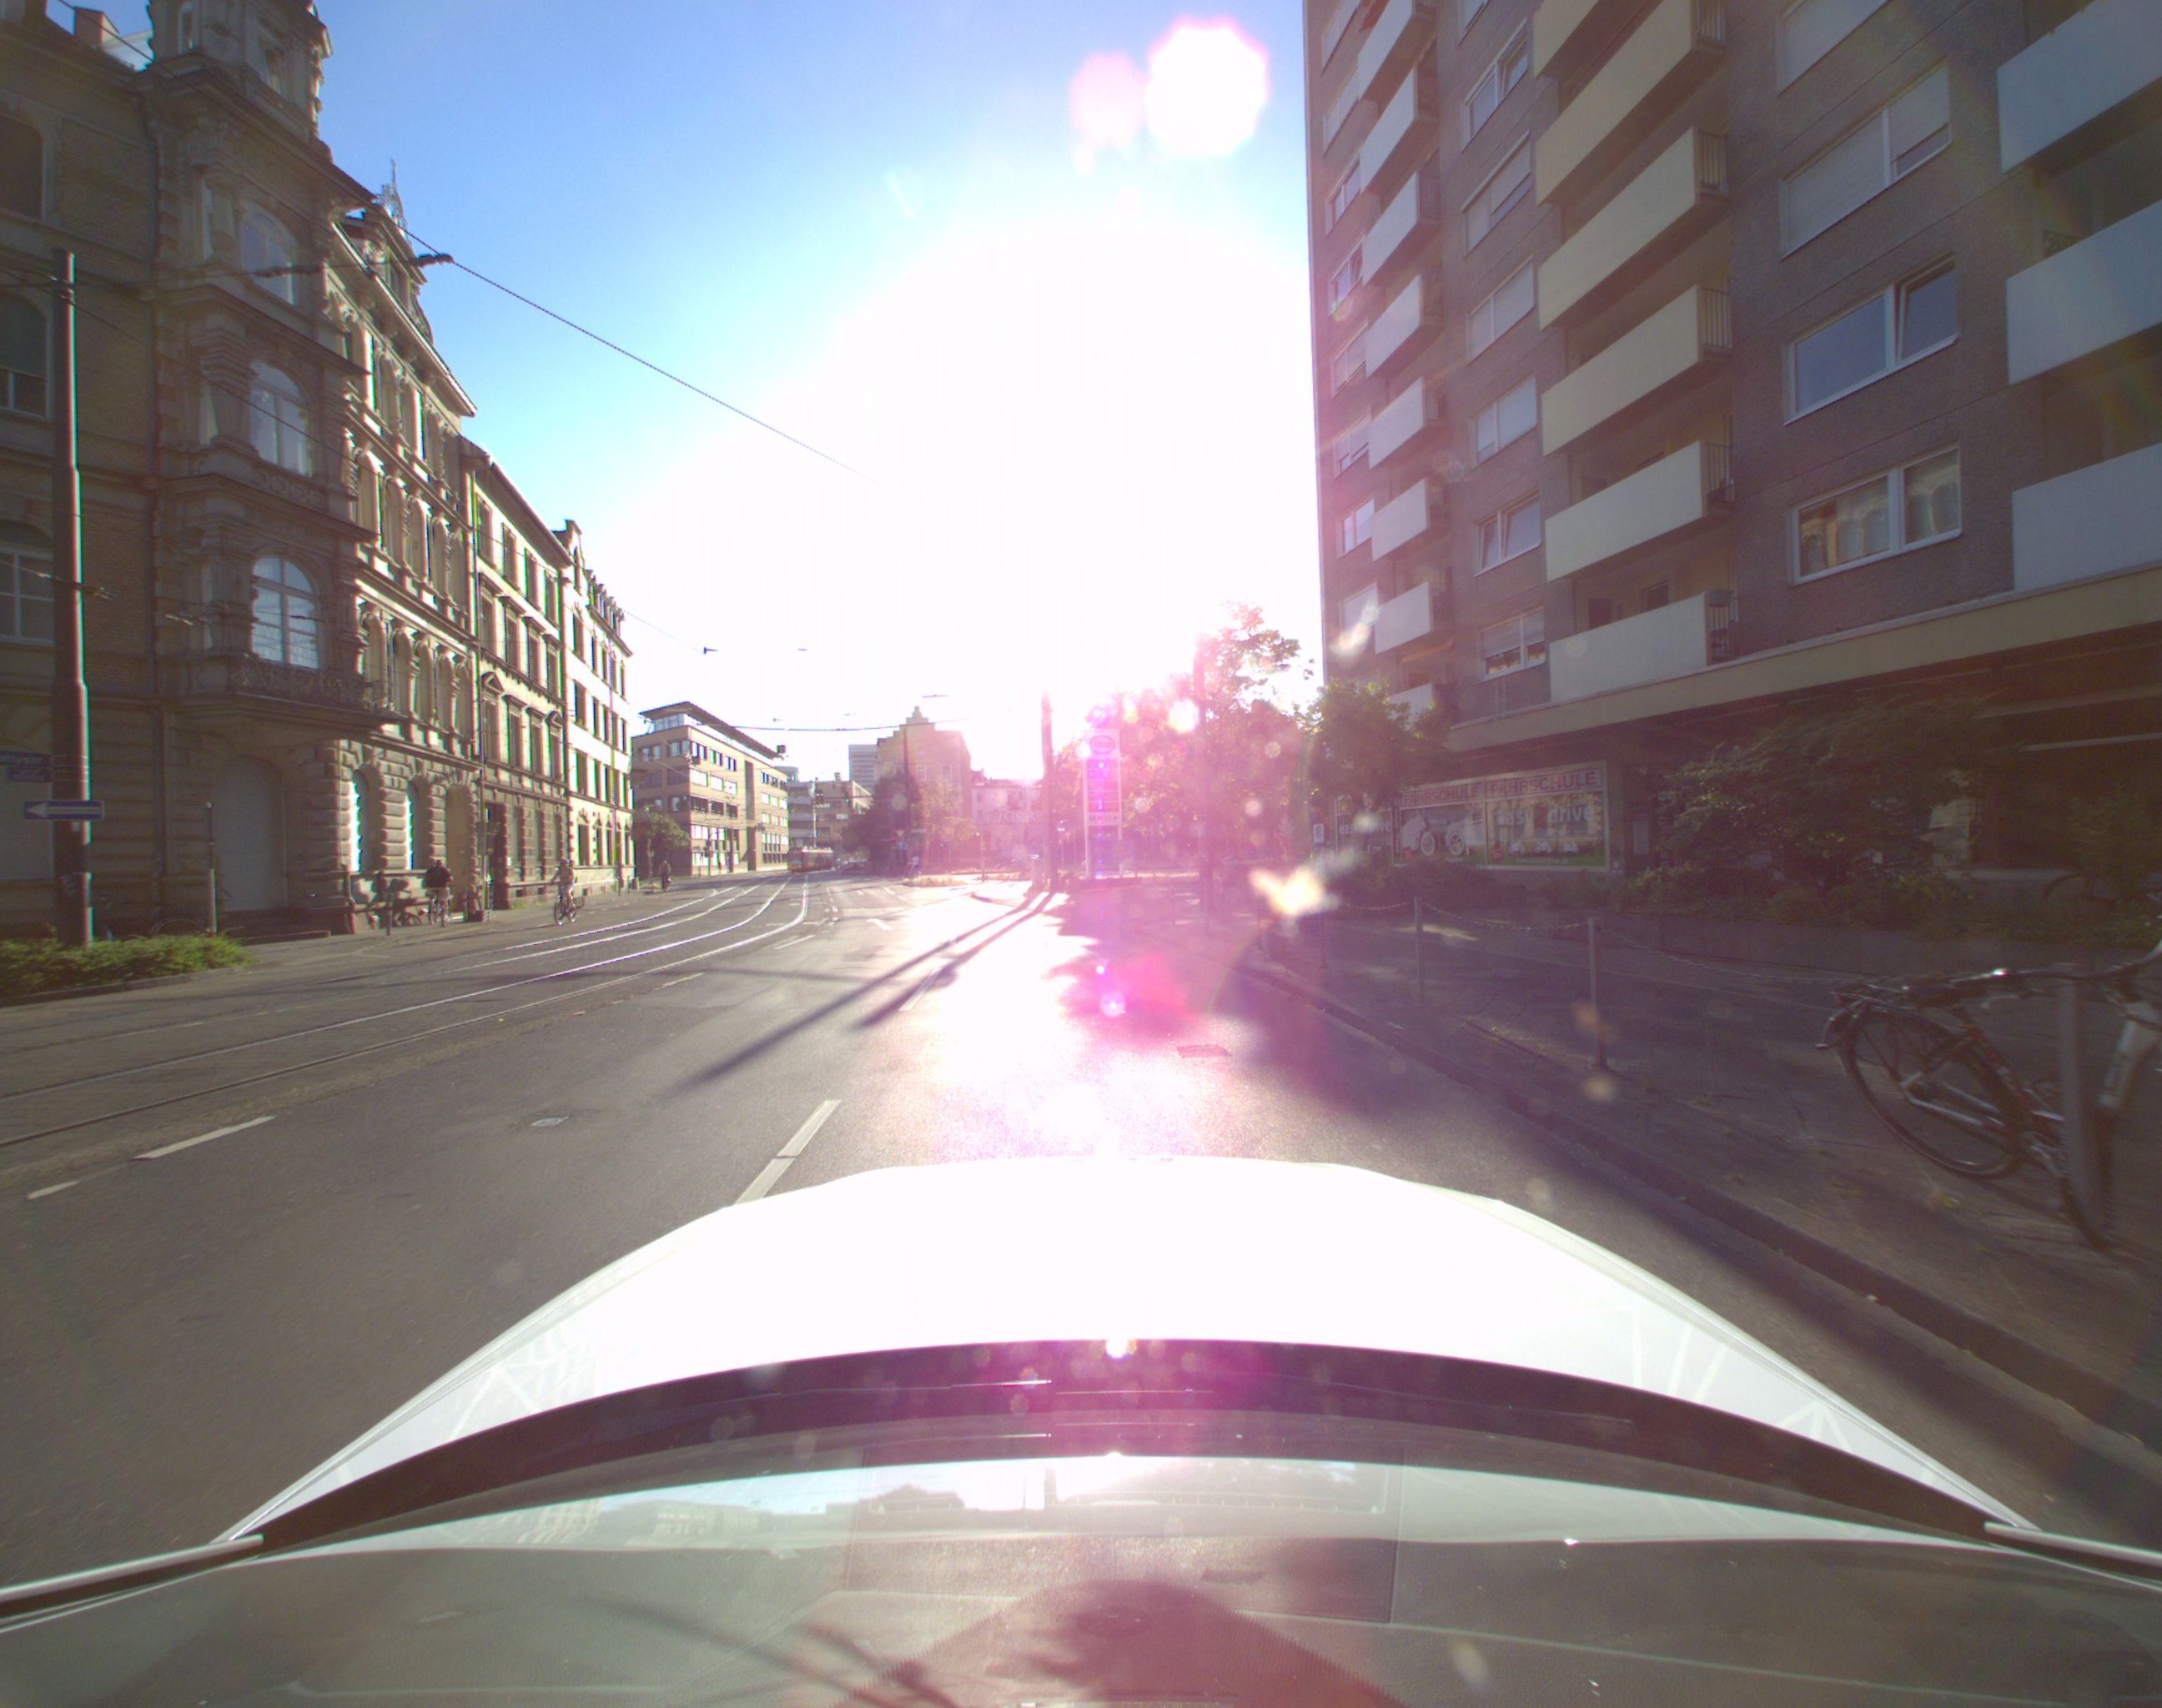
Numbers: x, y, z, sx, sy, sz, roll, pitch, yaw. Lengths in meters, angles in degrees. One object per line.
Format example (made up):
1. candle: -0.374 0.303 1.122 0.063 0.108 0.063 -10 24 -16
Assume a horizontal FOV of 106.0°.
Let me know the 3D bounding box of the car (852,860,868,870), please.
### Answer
1. car: -34.144 1.690 125.880 1.994 1.486 3.986 -3 0 -10

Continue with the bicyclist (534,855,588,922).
1. bicyclist: -15.264 0.996 23.938 1.032 1.891 1.105 -2 -1 -20

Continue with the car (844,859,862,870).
1. car: -32.443 1.522 115.984 1.994 1.464 3.986 -3 0 -10

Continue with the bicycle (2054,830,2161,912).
1. bicycle: 12.749 0.193 9.760 0.432 0.942 1.318 -2 0 -14

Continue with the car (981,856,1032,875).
1. car: -6.295 0.959 68.913 3.969 1.453 1.812 -2 0 4

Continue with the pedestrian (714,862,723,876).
1. pedestrian: -48.468 1.986 108.968 0.805 1.842 0.734 -2 0 -8

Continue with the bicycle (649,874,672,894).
1. bicycle: -26.028 1.846 50.496 0.949 1.097 1.985 -2 0 -19

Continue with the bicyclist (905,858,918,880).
1. bicyclist: -11.567 1.020 55.556 0.805 1.413 0.621 -2 -1 -14

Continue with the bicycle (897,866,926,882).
1. bicycle: -11.562 1.348 55.540 1.835 0.984 0.731 -3 0 -14

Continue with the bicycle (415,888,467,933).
1. bicycle: -18.076 1.560 23.044 0.503 1.133 2.111 -2 0 -21

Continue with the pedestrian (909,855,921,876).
1. pedestrian: -13.623 0.926 66.836 0.926 1.692 0.775 -2 0 -11

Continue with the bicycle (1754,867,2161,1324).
1. bicycle: 3.470 0.696 2.934 0.634 1.226 2.094 -3 0 11

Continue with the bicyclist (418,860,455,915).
1. bicyclist: -18.130 0.931 22.936 0.594 1.491 0.697 -2 0 -21

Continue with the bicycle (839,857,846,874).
1. bicycle: -25.656 1.268 87.638 0.568 1.806 1.348 -2 0 -22

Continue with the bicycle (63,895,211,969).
1. bicycle: -18.052 1.464 15.619 0.496 1.206 1.803 1 2 37

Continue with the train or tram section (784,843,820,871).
1. train or tram section: -39.442 0.430 115.653 2.241 3.574 14.233 -3 0 -9

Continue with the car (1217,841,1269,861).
1. car: 13.497 -0.221 67.891 3.972 1.453 1.687 -2 0 1

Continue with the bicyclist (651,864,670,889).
1. bicyclist: -26.059 1.406 50.491 0.846 1.514 0.796 -2 0 -19

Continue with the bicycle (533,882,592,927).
1. bicycle: -15.210 1.450 23.959 0.885 1.156 2.309 -2 0 -19

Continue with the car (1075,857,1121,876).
1. car: 1.502 1.063 72.070 3.970 1.507 1.674 -2 0 3
